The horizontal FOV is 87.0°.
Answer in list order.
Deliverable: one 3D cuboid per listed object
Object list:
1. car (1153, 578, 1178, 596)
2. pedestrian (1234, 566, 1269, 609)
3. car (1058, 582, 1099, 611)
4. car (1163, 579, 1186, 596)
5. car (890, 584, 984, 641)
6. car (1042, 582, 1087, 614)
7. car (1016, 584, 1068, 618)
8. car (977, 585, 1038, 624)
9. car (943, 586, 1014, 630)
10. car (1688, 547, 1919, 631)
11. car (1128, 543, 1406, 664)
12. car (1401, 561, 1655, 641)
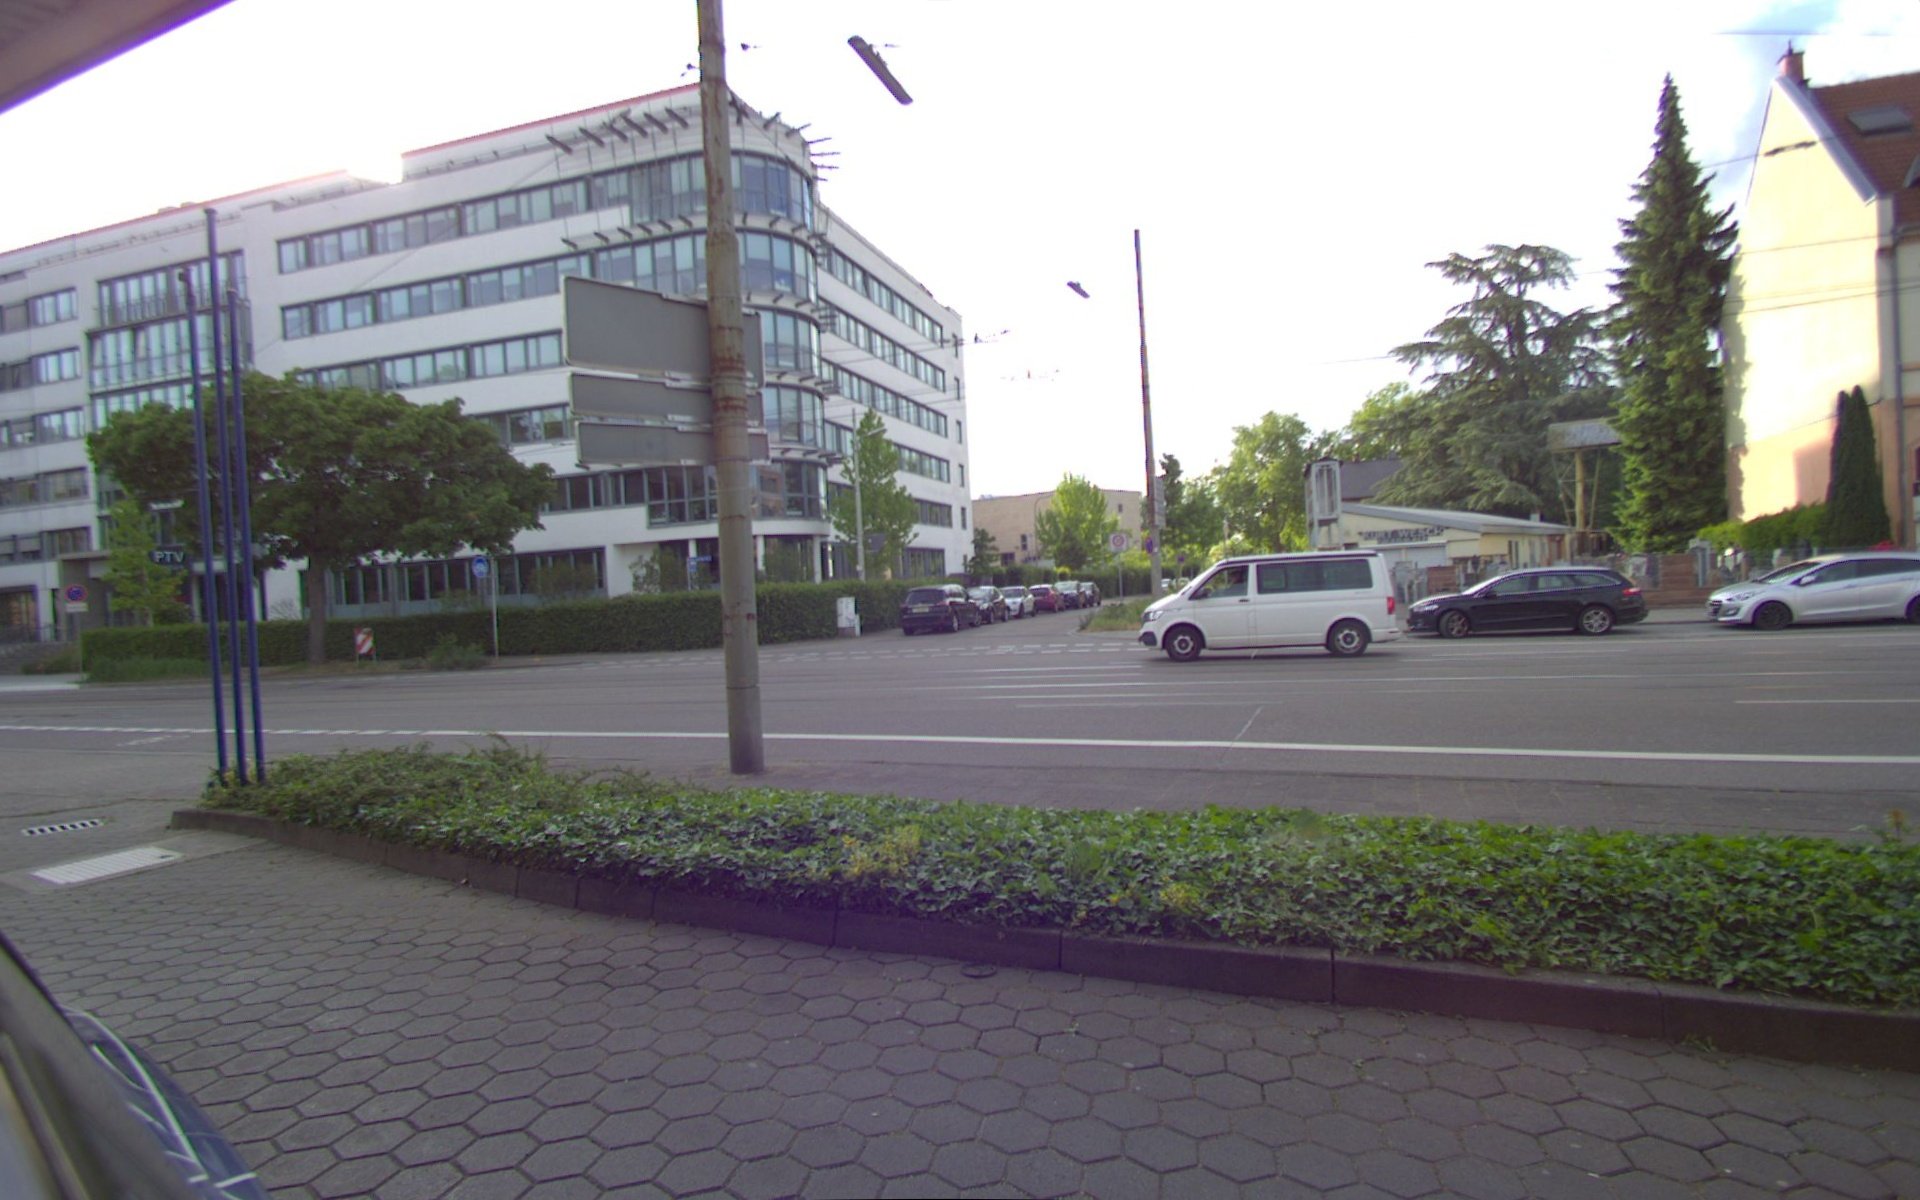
[{"bbox_3d":[20.428,-1.268,100.613,1.774,1.653,4.060,-4,0,19],"label":"car"},{"bbox_3d":[12.709,-0.529,44.155,0.988,1.843,1.096,-1,0,-28],"label":"pedestrian"},{"bbox_3d":[7.372,-0.232,62.672,1.773,1.653,4.064,-4,0,17],"label":"car"},{"bbox_3d":[22.567,-1.296,106.310,1.774,1.653,4.060,-4,0,19],"label":"car"},{"bbox_3d":[-0.725,0.381,35.537,1.962,1.625,4.411,-4,2,17],"label":"car"},{"bbox_3d":[5.981,-0.135,57.661,1.773,1.653,4.064,-4,0,17],"label":"car"},{"bbox_3d":[4.286,0.024,52.361,1.773,1.552,4.018,-4,0,17],"label":"car"},{"bbox_3d":[2.204,0.176,45.756,1.773,1.565,4.083,-4,0,17],"label":"car"},{"bbox_3d":[0.796,0.289,40.895,1.773,1.565,4.083,-4,0,17],"label":"car"},{"bbox_3d":[18.489,-0.257,21.498,4.459,1.486,1.986,-4,0,22],"label":"car"},{"bbox_3d":[5.877,0.089,19.762,4.845,1.983,1.990,-3,0,16],"label":"car"},{"bbox_3d":[12.913,0.044,23.415,4.791,1.507,1.986,-3,0,22],"label":"car"}]
